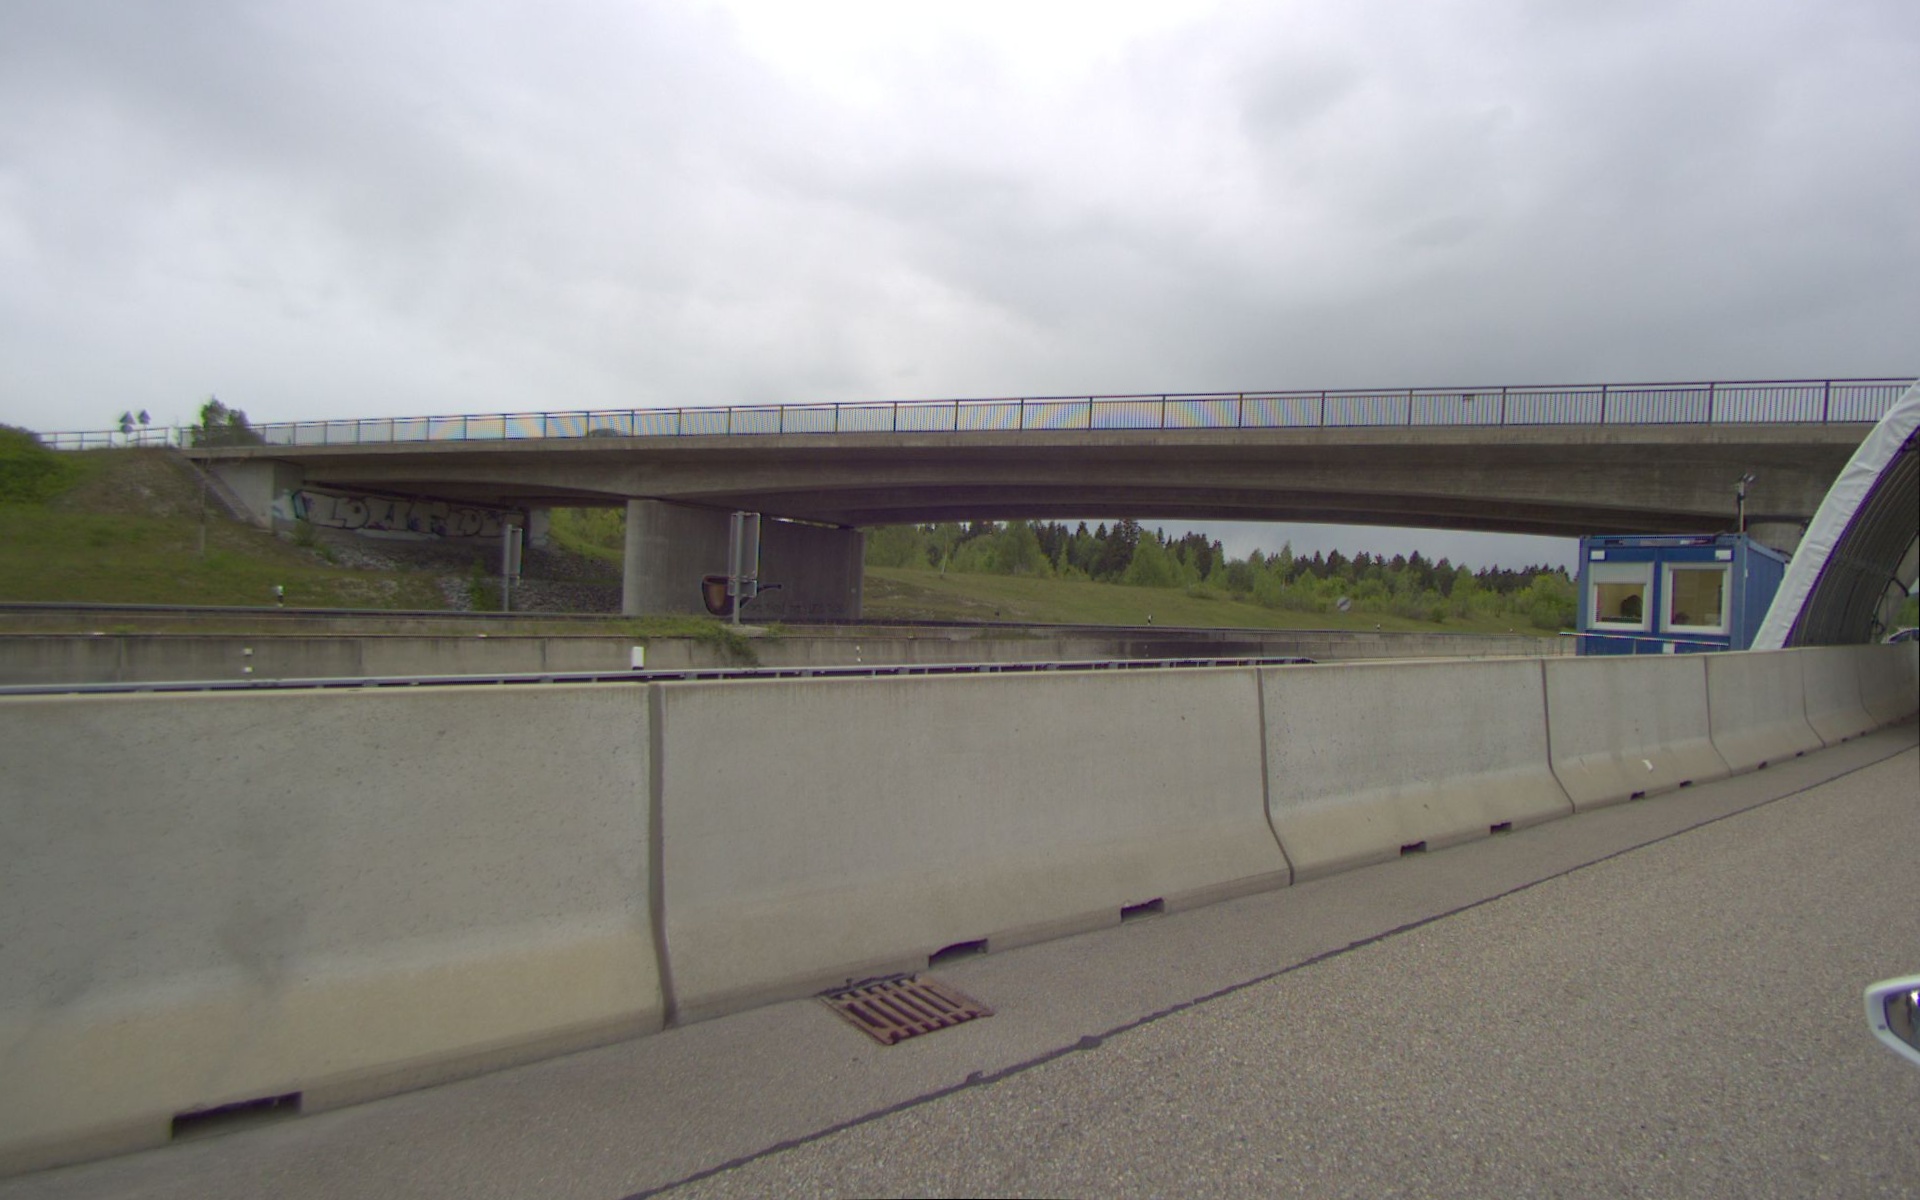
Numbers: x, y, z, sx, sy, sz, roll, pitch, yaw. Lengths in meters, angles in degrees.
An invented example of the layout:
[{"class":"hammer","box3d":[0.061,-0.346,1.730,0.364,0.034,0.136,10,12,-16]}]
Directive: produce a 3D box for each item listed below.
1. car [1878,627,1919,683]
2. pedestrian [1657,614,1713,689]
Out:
[{"class":"car","box3d":[36.716,2.060,36.381,1.814,2.040,4.797,2,-1,-22]},{"class":"pedestrian","box3d":[13.655,0.962,18.932,0.618,1.391,0.609,2,-1,-21]}]
